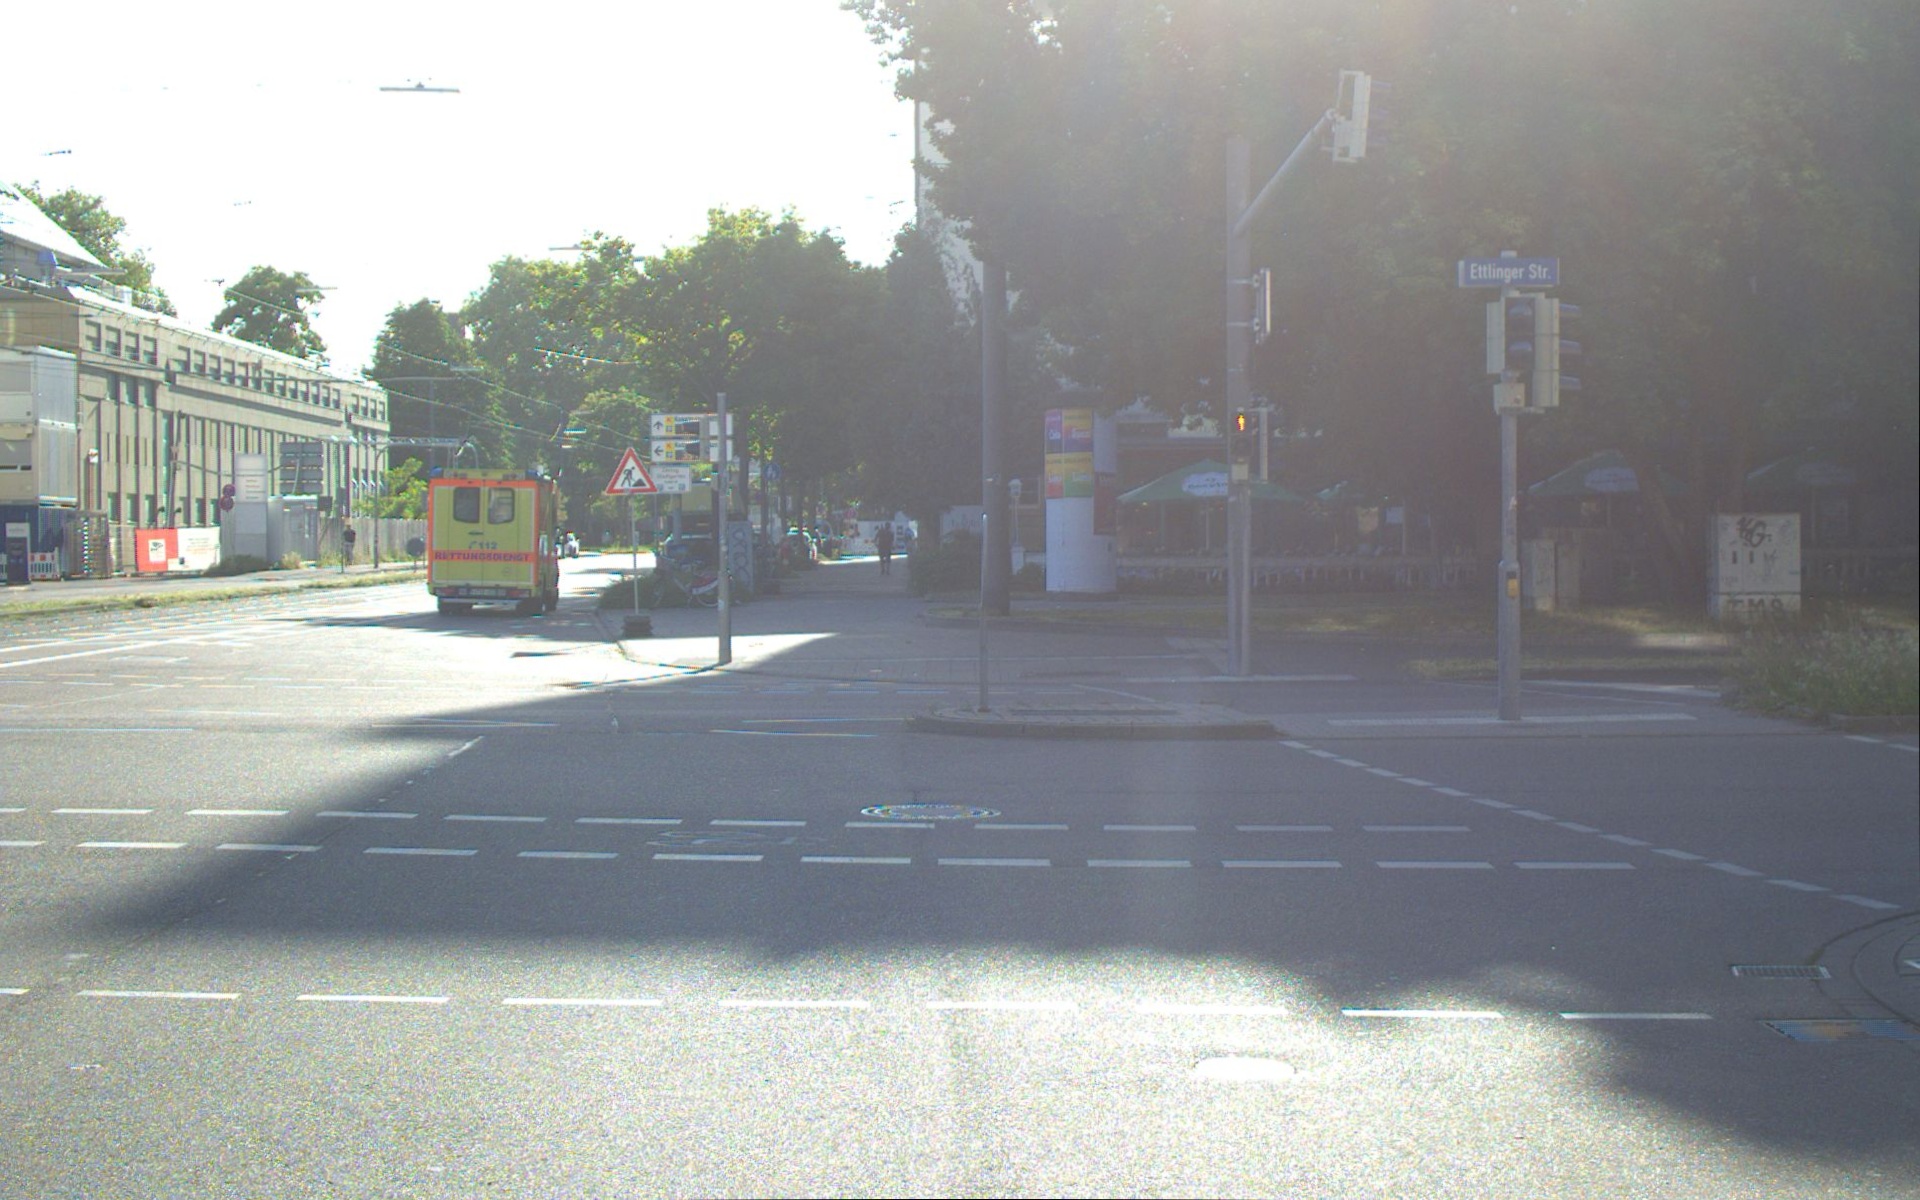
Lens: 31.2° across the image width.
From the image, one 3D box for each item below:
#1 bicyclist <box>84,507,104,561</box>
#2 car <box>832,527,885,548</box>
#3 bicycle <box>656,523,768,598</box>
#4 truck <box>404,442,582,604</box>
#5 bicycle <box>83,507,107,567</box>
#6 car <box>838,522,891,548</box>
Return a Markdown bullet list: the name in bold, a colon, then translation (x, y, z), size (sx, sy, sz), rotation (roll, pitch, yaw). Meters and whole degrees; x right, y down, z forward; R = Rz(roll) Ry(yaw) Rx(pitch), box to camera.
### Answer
- **bicyclist**: translation (-32.763, -2.500, 130.131), size (0.571, 2.017, 0.762), rotation (0, 1, -2)
- **car**: translation (-6.218, -3.820, 211.120), size (3.217, 1.259, 1.373), rotation (1, 0, -1)
- **bicycle**: translation (-5.863, -0.931, 81.374), size (2.547, 1.737, 1.037), rotation (1, 0, 0)
- **truck**: translation (-9.061, -1.494, 67.384), size (2.716, 3.005, 6.490), rotation (0, 1, -1)
- **bicycle**: translation (-32.762, -2.386, 130.183), size (0.571, 2.288, 1.422), rotation (0, 1, -2)
- **car**: translation (-5.937, -4.046, 213.428), size (3.214, 1.583, 1.446), rotation (1, 0, -4)
